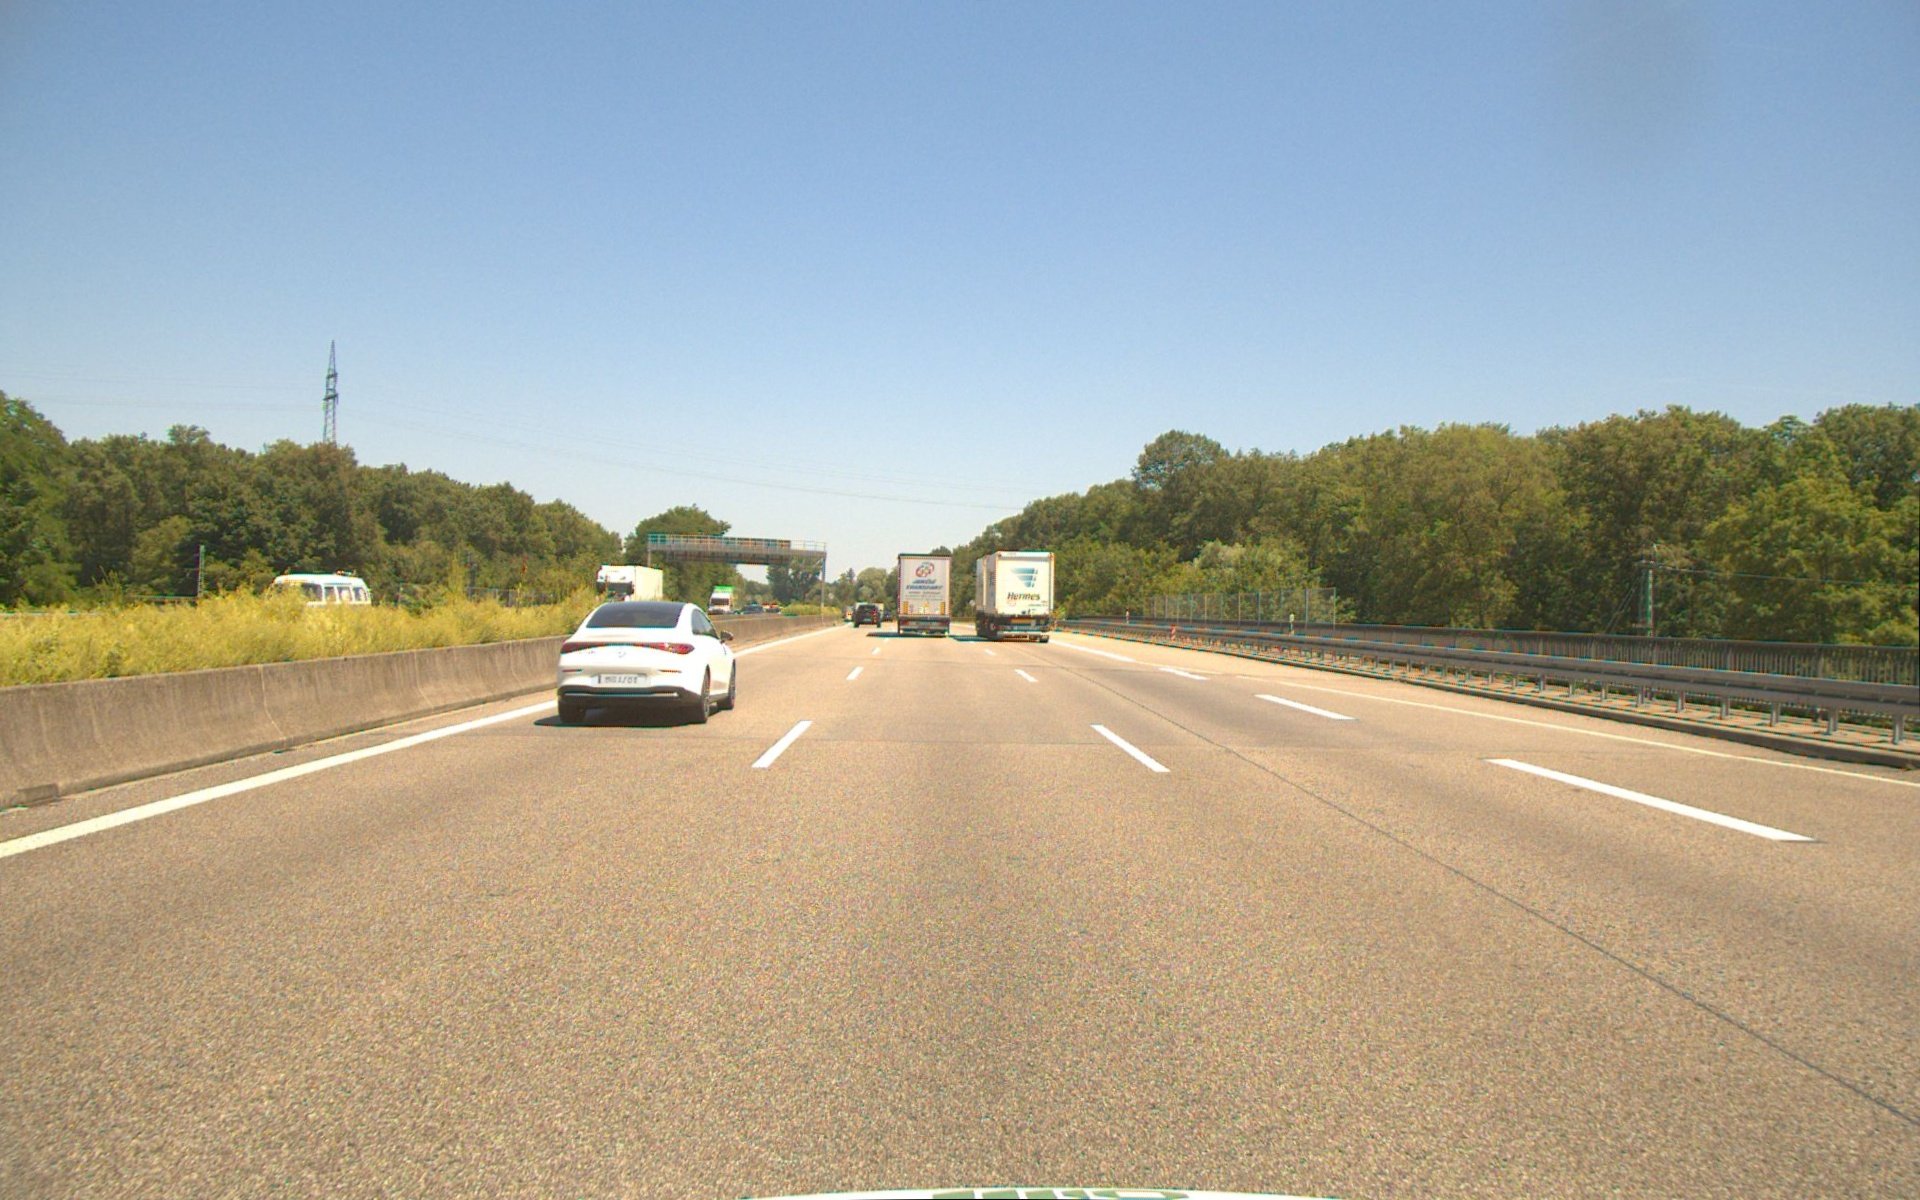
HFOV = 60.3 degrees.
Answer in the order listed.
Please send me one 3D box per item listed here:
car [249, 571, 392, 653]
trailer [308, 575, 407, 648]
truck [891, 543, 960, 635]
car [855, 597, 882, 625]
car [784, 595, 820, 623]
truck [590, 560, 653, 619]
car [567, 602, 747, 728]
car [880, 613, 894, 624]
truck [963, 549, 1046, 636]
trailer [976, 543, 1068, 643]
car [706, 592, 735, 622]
[{"bbox_3d":[-17.535,0.316,45.635,2.081,2.119,4.969,1,0,-1],"label":"car"},{"bbox_3d":[-17.592,0.323,48.392,2.060,2.061,2.368,1,0,-2],"label":"trailer"},{"bbox_3d":[-1.778,-0.585,82.224,3.165,4.275,8.462,1,1,-3],"label":"truck"},{"bbox_3d":[-6.825,0.797,123.188,1.954,1.907,3.998,1,1,-4],"label":"car"},{"bbox_3d":[-11.966,0.658,125.482,2.245,2.049,4.710,1,0,-1],"label":"car"},{"bbox_3d":[-24.146,-0.730,118.341,2.987,4.046,8.285,1,0,-2],"label":"truck"},{"bbox_3d":[-3.948,0.777,22.346,1.731,1.474,5.105,-1,0,-3],"label":"car"},{"bbox_3d":[-11.223,2.858,253.666,1.954,1.624,3.997,1,0,-4],"label":"car"},{"bbox_3d":[2.150,-0.438,85.009,3.260,4.123,10.947,1,1,-3],"label":"truck"},{"bbox_3d":[2.694,-0.356,75.405,3.300,4.215,9.086,1,1,-3],"label":"trailer"},{"bbox_3d":[-21.808,0.657,150.895,1.953,2.613,6.125,1,0,-3],"label":"car"}]
